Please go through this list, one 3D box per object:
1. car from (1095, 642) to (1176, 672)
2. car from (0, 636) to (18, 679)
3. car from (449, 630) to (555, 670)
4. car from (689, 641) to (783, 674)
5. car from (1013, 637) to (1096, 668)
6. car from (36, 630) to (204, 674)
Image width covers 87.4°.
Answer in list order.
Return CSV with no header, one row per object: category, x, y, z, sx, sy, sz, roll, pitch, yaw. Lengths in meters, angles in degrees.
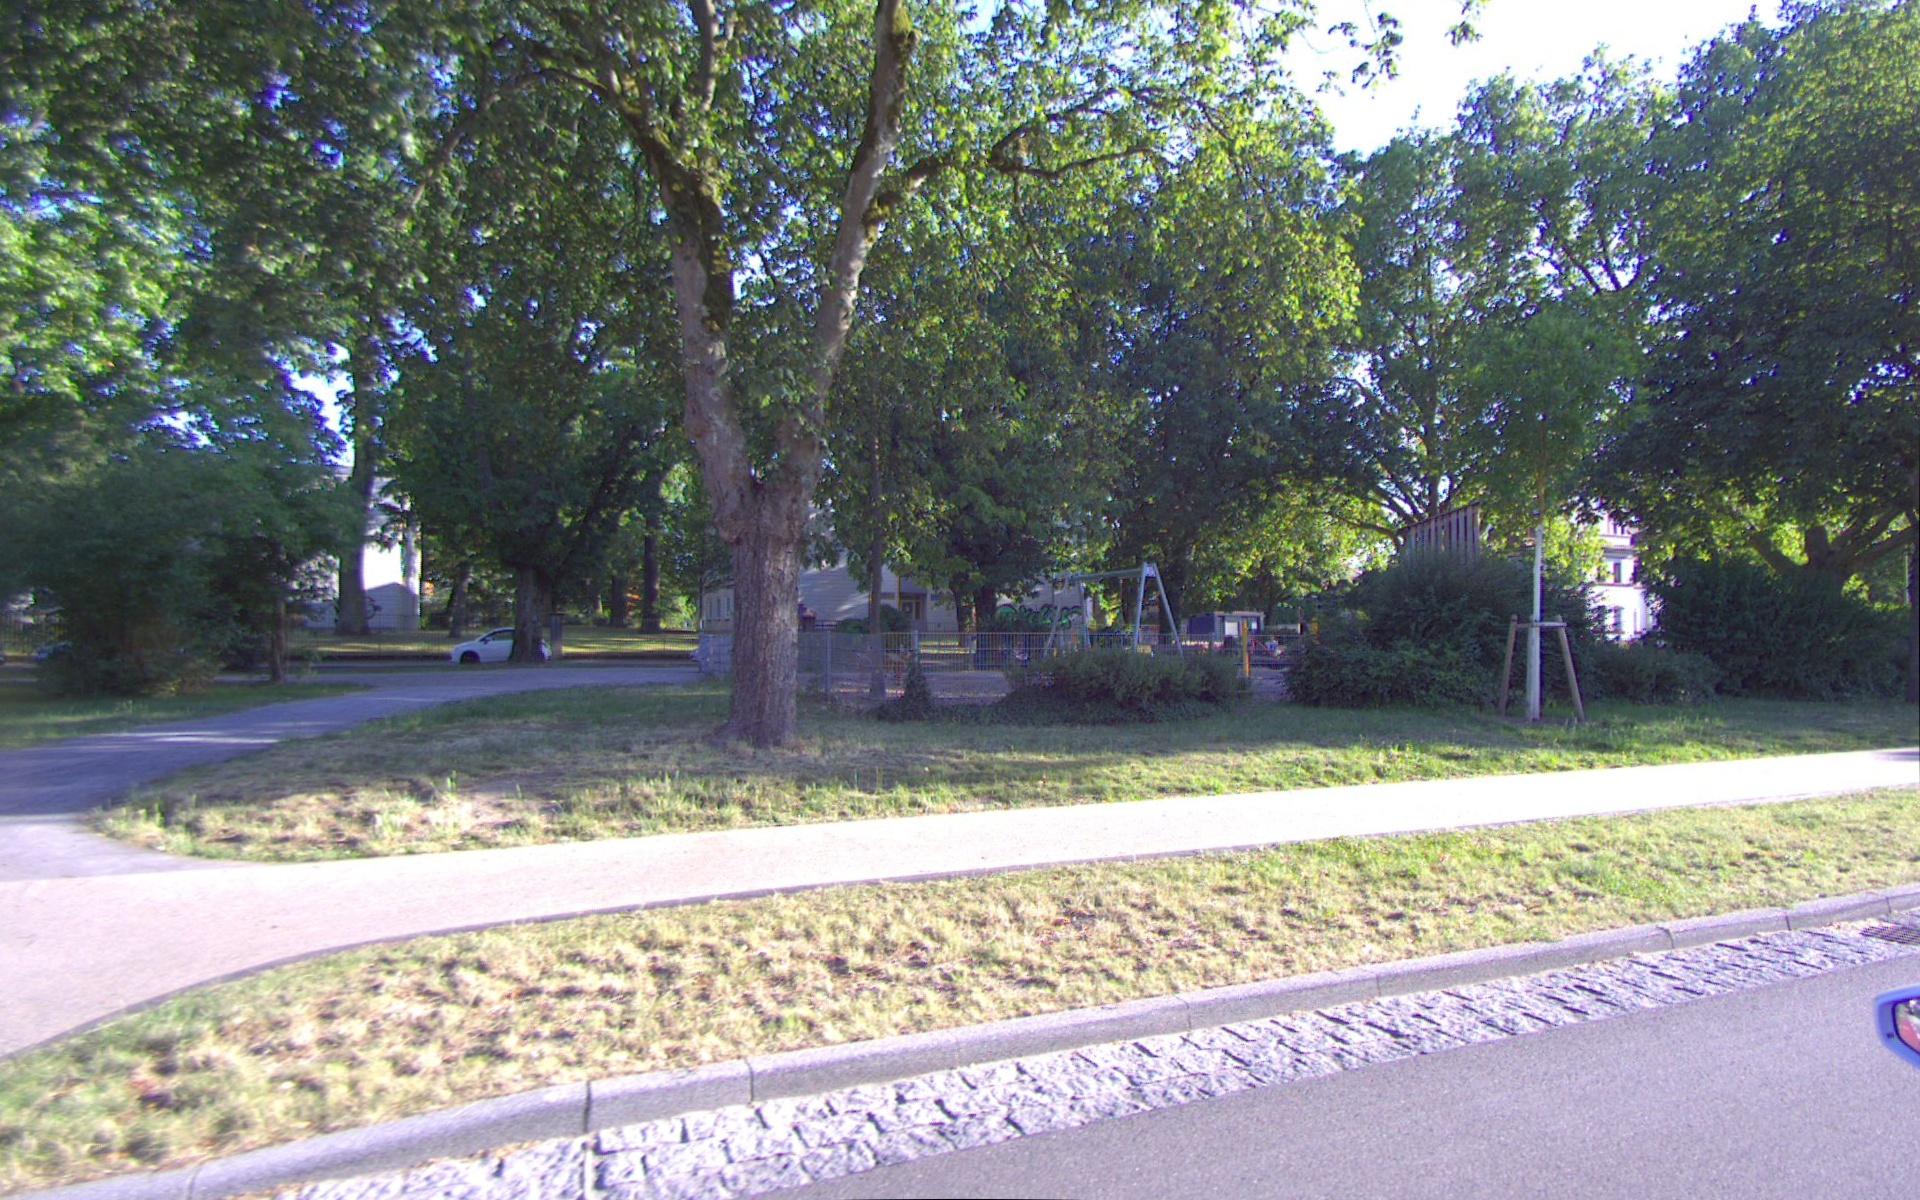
car,8.671,2.806,49.576,3.697,1.386,1.519,1,-1,-22
car,-33.001,1.845,32.205,3.739,1.386,1.518,1,-1,-23
car,-17.566,1.901,38.693,3.608,1.483,1.598,1,-1,-21
car,-9.457,2.390,42.383,3.697,1.309,1.519,1,-1,-22
car,4.539,2.497,48.077,3.697,1.386,1.519,1,-1,-22
car,-28.331,1.730,34.020,4.050,1.386,1.518,1,-1,-23
